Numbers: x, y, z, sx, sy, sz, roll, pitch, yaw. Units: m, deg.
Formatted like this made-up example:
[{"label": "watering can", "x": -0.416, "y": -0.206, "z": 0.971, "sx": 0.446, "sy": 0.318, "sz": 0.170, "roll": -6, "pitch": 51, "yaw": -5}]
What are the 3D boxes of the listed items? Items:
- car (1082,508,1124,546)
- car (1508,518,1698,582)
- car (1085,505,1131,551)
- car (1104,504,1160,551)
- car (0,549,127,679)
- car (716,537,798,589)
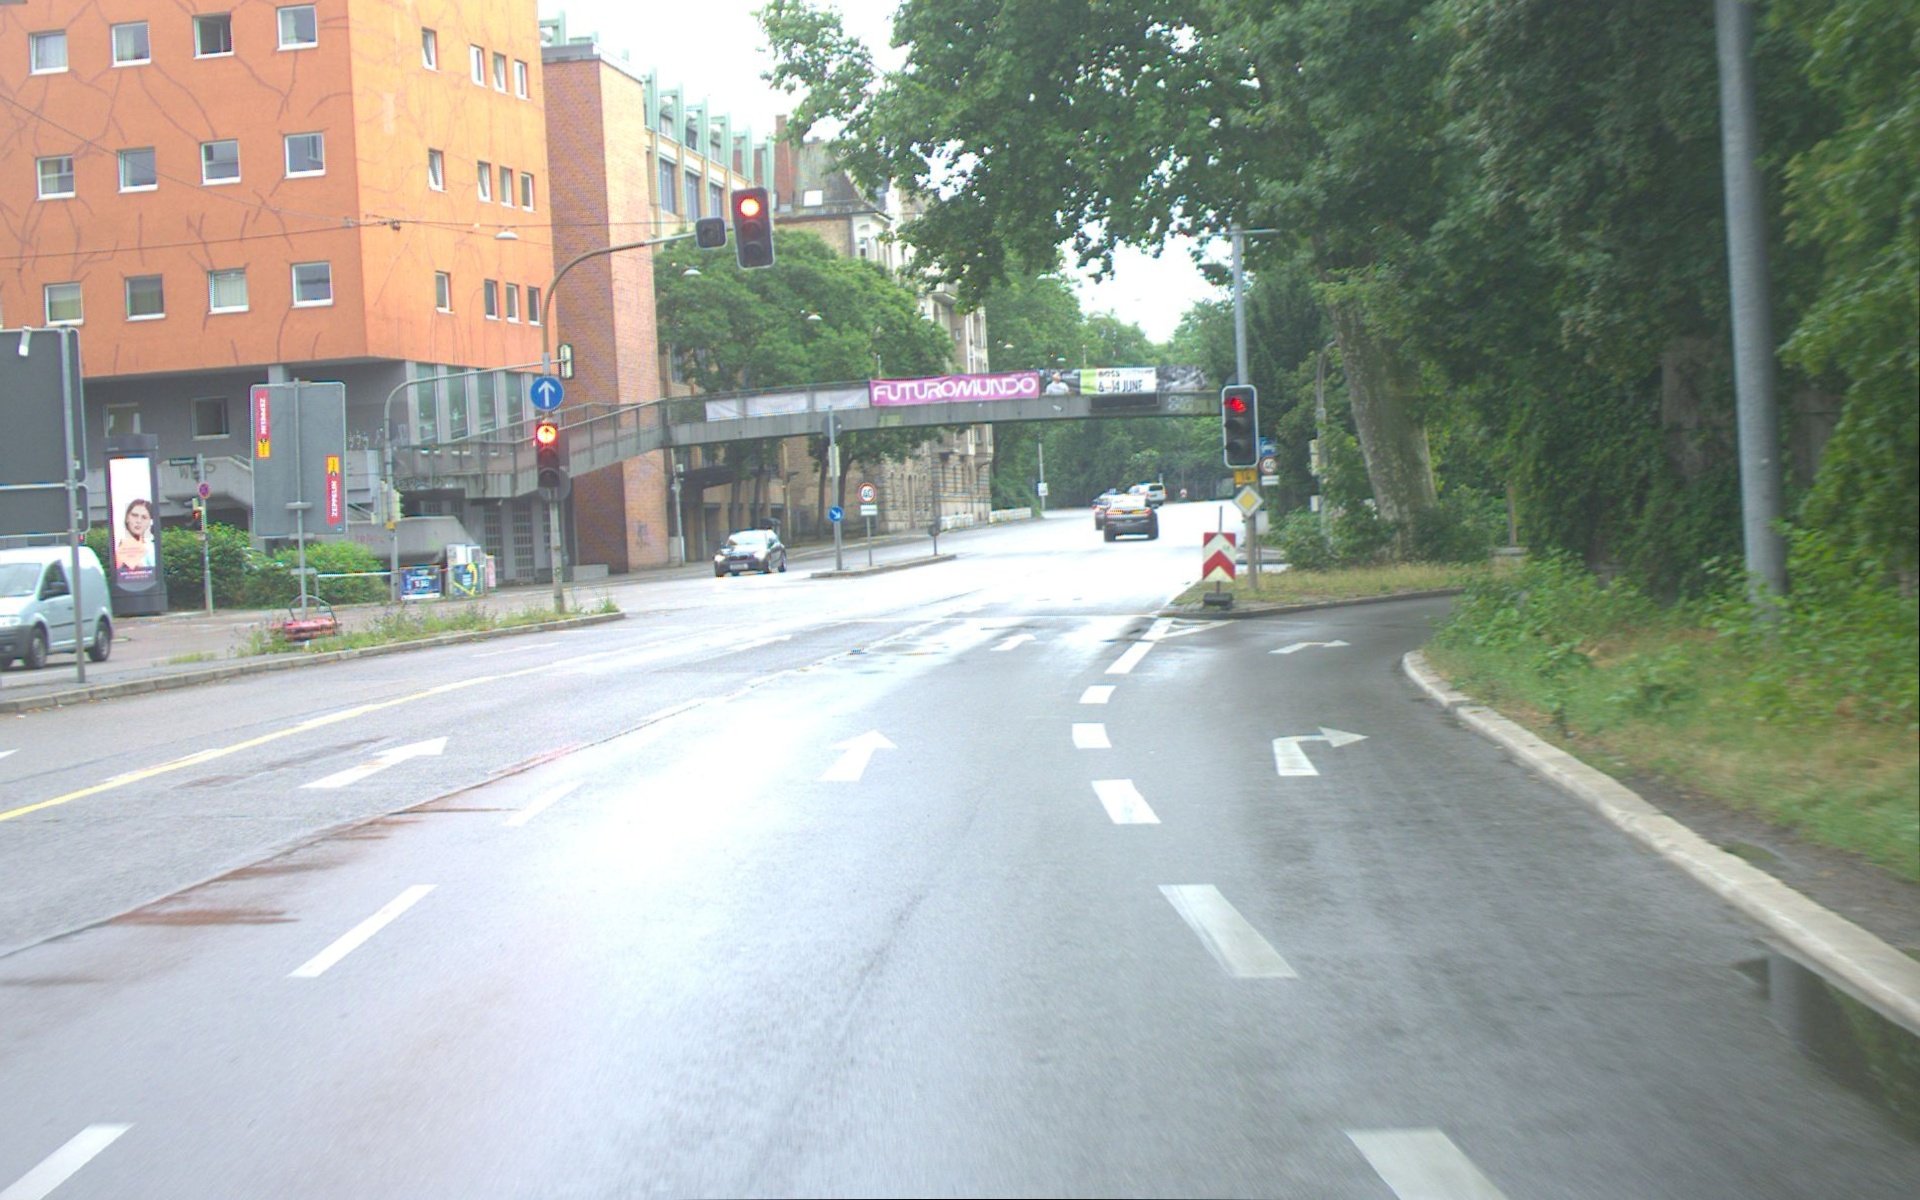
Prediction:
[{"label": "car", "x": 6.866, "y": -3.503, "z": 164.928, "sx": 1.763, "sy": 1.691, "sz": 3.705, "roll": -4, "pitch": 1, "yaw": 5}, {"label": "car", "x": 16.955, "y": -1.325, "z": 90.767, "sx": 4.603, "sy": 1.446, "sz": 1.774, "roll": -3, "pitch": 1, "yaw": -2}, {"label": "car", "x": 7.068, "y": -3.443, "z": 164.622, "sx": 1.994, "sy": 2.007, "sz": 4.000, "roll": -4, "pitch": 1, "yaw": 2}, {"label": "car", "x": 6.751, "y": -2.848, "z": 134.961, "sx": 2.121, "sy": 1.729, "sz": 4.198, "roll": -1, "pitch": 2, "yaw": 2}, {"label": "car", "x": -13.981, "y": 0.217, "z": 50.945, "sx": 1.734, "sy": 1.780, "sz": 4.301, "roll": -4, "pitch": 1, "yaw": 6}, {"label": "car", "x": -6.421, "y": -1.199, "z": 109.155, "sx": 1.994, "sy": 1.514, "sz": 3.999, "roll": -3, "pitch": 1, "yaw": 5}]
